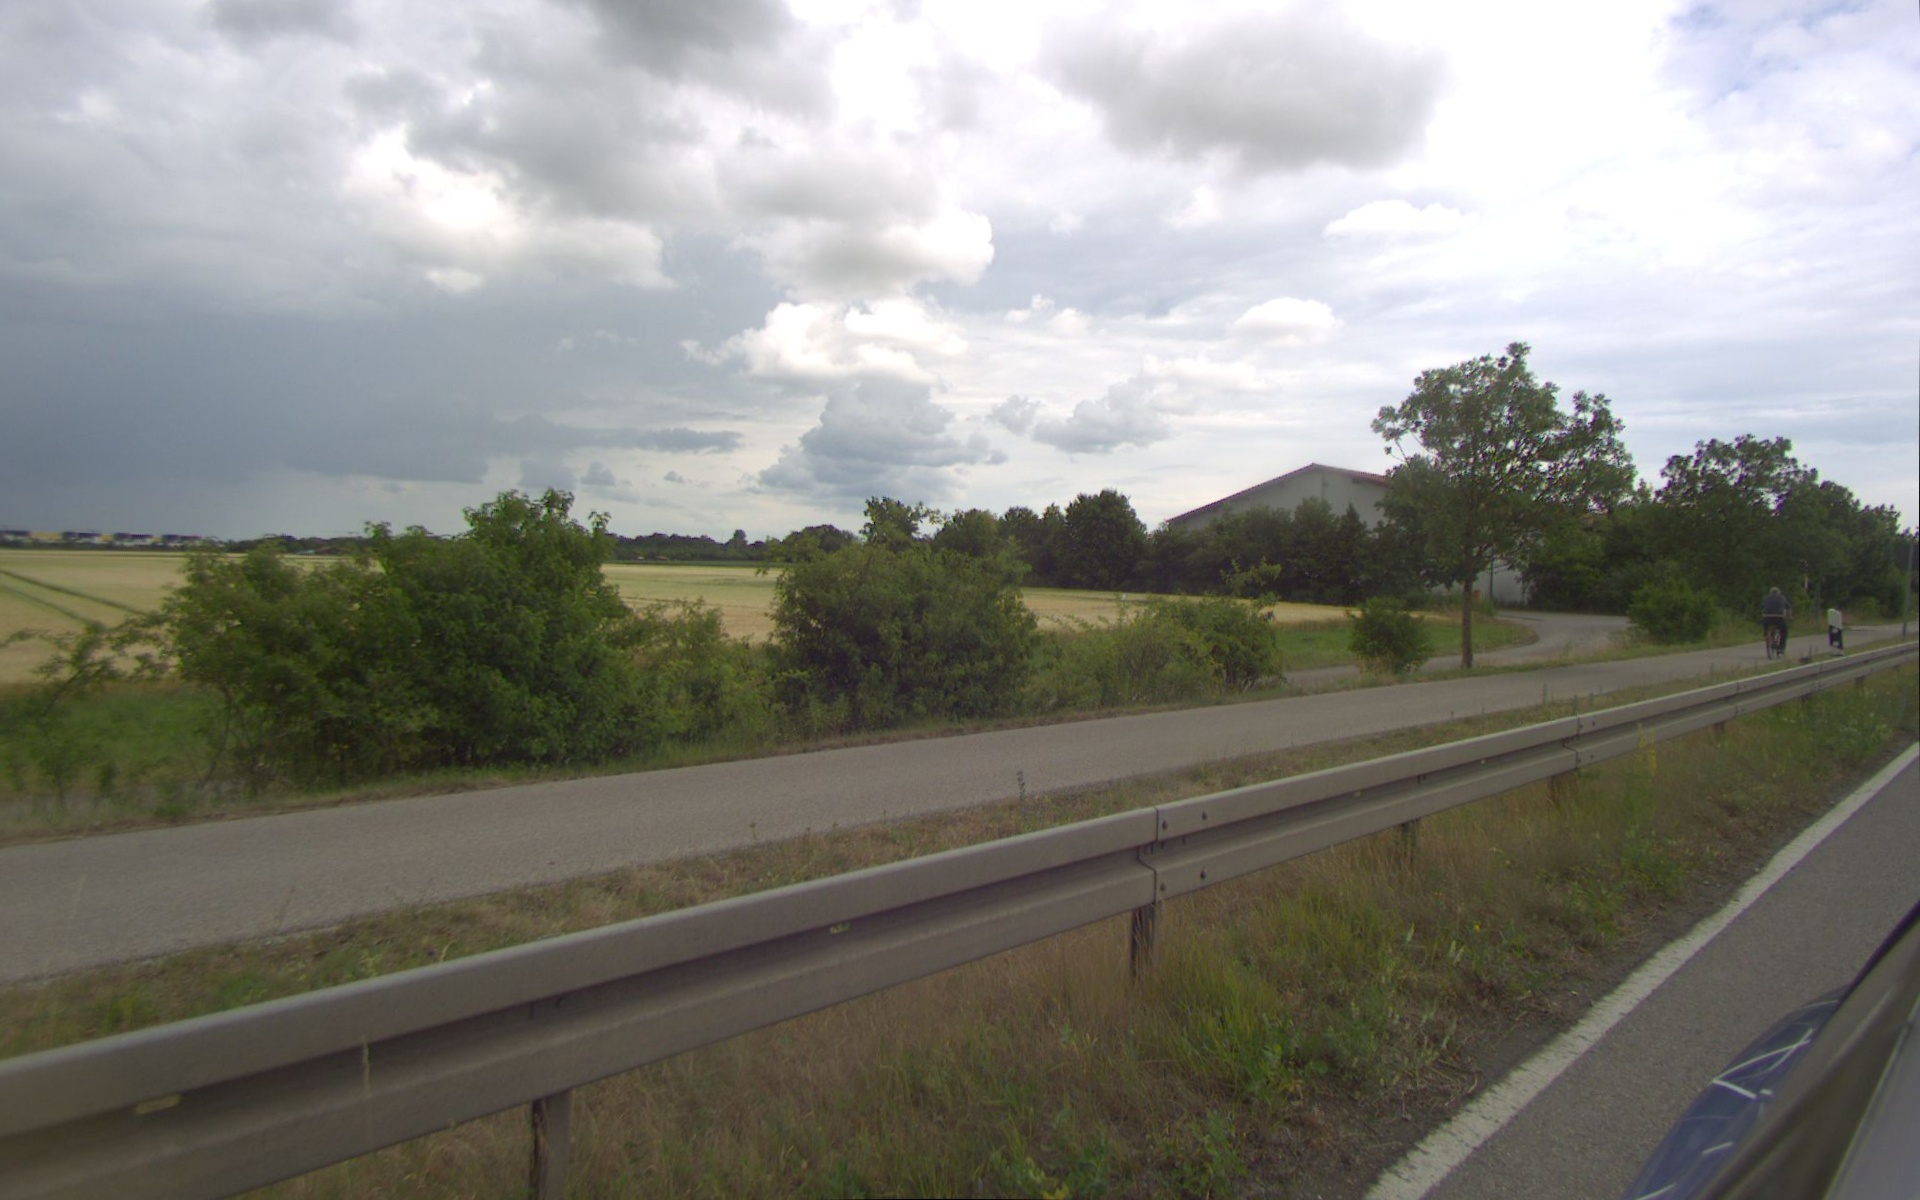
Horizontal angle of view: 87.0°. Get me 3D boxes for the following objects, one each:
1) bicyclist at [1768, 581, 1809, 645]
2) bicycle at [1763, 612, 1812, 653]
[{"bbox_3d":[21.443,0.327,26.190,0.952,1.602,0.640,0,1,-41],"label":"bicyclist"},{"bbox_3d":[21.448,0.824,26.212,2.036,0.990,0.640,0,2,-41],"label":"bicycle"}]
